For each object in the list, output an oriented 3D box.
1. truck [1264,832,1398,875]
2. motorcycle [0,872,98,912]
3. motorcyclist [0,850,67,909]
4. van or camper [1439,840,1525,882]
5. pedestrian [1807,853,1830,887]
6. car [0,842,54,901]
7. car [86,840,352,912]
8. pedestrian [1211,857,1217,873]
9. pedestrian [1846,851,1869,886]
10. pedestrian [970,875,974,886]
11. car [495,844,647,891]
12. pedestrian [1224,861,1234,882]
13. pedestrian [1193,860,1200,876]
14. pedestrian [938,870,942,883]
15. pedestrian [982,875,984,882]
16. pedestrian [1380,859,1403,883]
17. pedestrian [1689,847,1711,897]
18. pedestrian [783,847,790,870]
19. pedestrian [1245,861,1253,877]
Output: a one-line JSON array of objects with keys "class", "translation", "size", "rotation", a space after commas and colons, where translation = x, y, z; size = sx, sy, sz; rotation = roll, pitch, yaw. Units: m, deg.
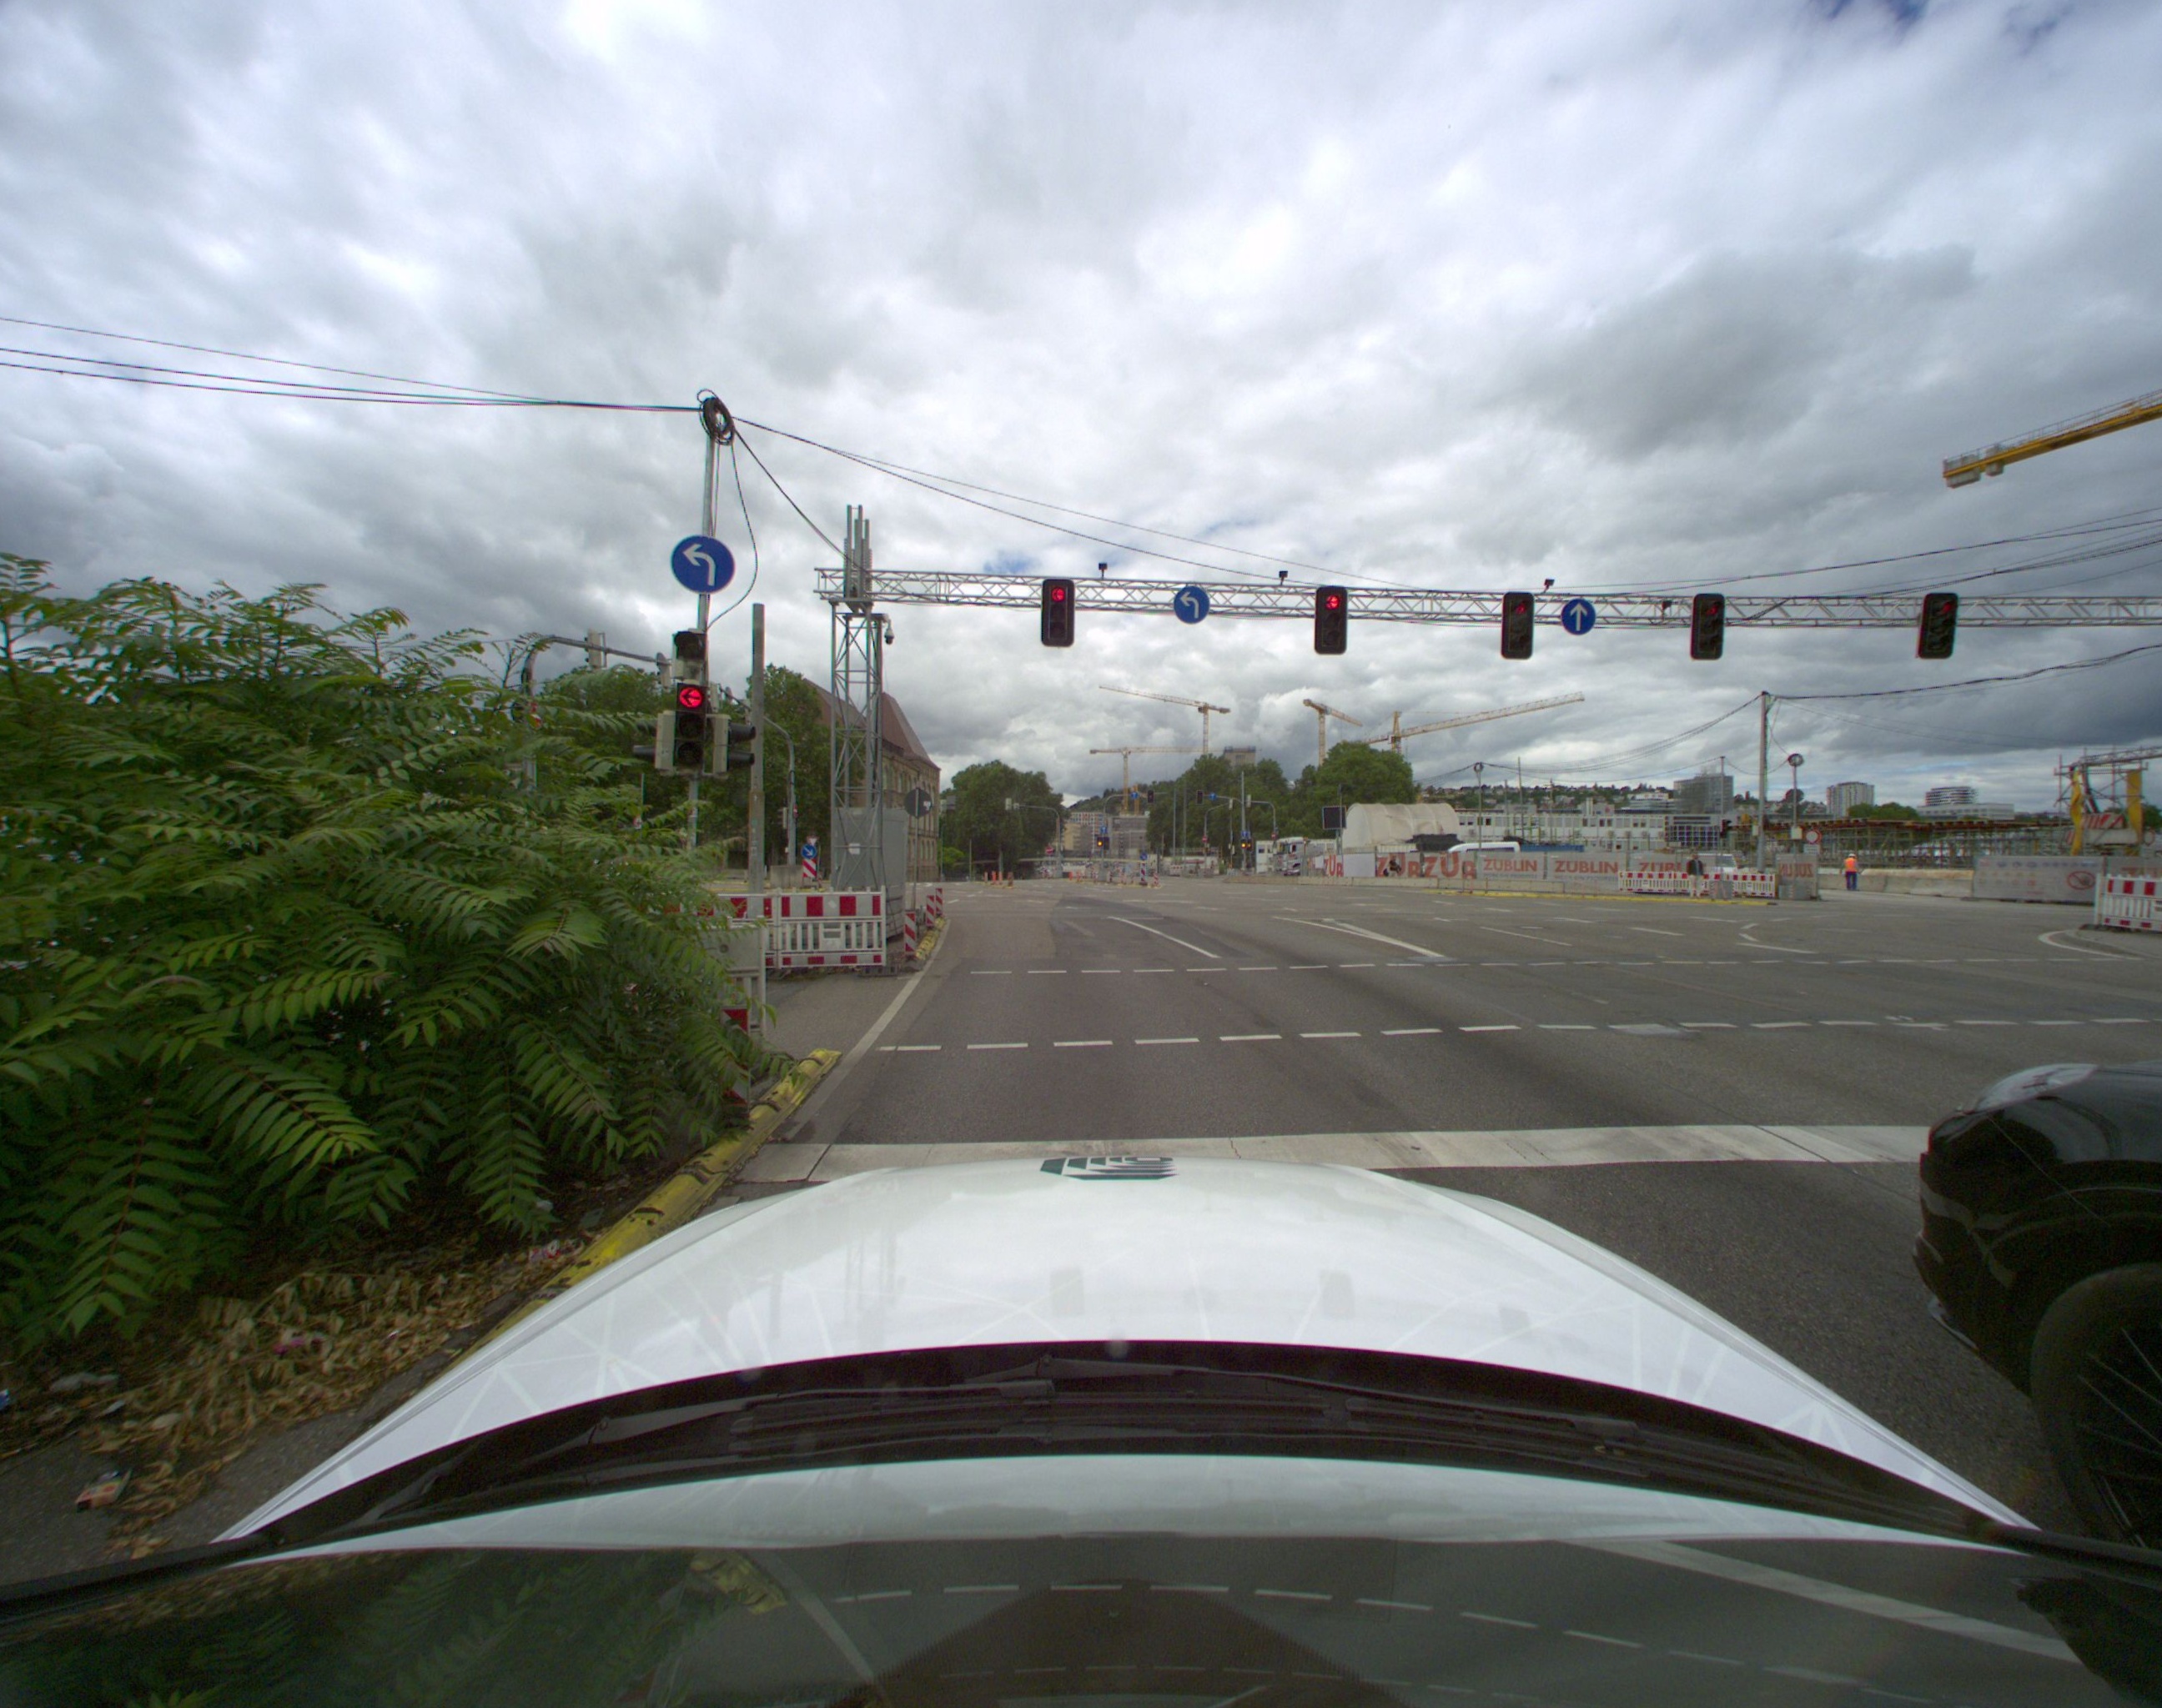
[{"class": "truck", "translation": [25.035, -0.034, 81.592], "size": [13.062, 4.041, 3.926], "rotation": [0, 0, -18]}, {"class": "motorcycle", "translation": [-25.472, 0.911, 19.813], "size": [2.051, 0.924, 0.756], "rotation": [0, 0, -4]}, {"class": "motorcyclist", "translation": [-25.617, 0.609, 19.798], "size": [0.963, 1.423, 0.745], "rotation": [0, 0, -4]}, {"class": "van or camper", "translation": [23.150, 0.417, 47.206], "size": [4.181, 2.357, 2.009], "rotation": [0, 0, 16]}, {"class": "pedestrian", "translation": [38.657, 0.822, 42.675], "size": [0.651, 1.795, 0.617], "rotation": [0, 0, -7]}, {"class": "car", "translation": [-32.931, 0.482, 23.317], "size": [4.302, 1.676, 1.998], "rotation": [0, 0, -3]}, {"class": "car", "translation": [-21.255, 0.520, 20.257], "size": [4.302, 1.676, 1.998], "rotation": [0, 0, -3]}, {"class": "pedestrian", "translation": [14.098, 1.155, 86.198], "size": [0.564, 1.689, 0.472], "rotation": [0, 0, 1]}, {"class": "pedestrian", "translation": [38.124, 0.721, 39.988], "size": [0.651, 1.717, 0.516], "rotation": [0, 0, -9]}, {"class": "pedestrian", "translation": [-20.831, 5.121, 155.642], "size": [0.522, 2.014, 0.567], "rotation": [0, 0, 2]}, {"class": "car", "translation": [-18.819, 0.494, 30.250], "size": [4.315, 1.676, 1.992], "rotation": [0, 0, -12]}, {"class": "pedestrian", "translation": [12.251, 1.426, 67.415], "size": [0.726, 1.689, 0.678], "rotation": [0, 0, 1]}, {"class": "pedestrian", "translation": [12.062, 1.451, 85.131], "size": [0.726, 1.689, 0.678], "rotation": [0, 0, 1]}, {"class": "pedestrian", "translation": [-21.965, 3.576, 126.902], "size": [0.522, 2.014, 0.567], "rotation": [0, 0, 2]}, {"class": "pedestrian", "translation": [-21.697, 5.415, 180.605], "size": [0.534, 1.592, 0.515], "rotation": [0, 0, -2]}, {"class": "pedestrian", "translation": [17.623, 0.960, 46.199], "size": [0.801, 1.378, 0.897], "rotation": [0, 0, -26]}, {"class": "pedestrian", "translation": [25.668, 0.739, 33.764], "size": [0.645, 2.013, 0.520], "rotation": [0, 0, 27]}, {"class": "pedestrian", "translation": [-26.849, 0.411, 74.256], "size": [0.530, 2.014, 0.423], "rotation": [1, -1, -42]}, {"class": "pedestrian", "translation": [17.610, 1.587, 85.420], "size": [0.615, 1.689, 0.716], "rotation": [0, 0, 31]}]
